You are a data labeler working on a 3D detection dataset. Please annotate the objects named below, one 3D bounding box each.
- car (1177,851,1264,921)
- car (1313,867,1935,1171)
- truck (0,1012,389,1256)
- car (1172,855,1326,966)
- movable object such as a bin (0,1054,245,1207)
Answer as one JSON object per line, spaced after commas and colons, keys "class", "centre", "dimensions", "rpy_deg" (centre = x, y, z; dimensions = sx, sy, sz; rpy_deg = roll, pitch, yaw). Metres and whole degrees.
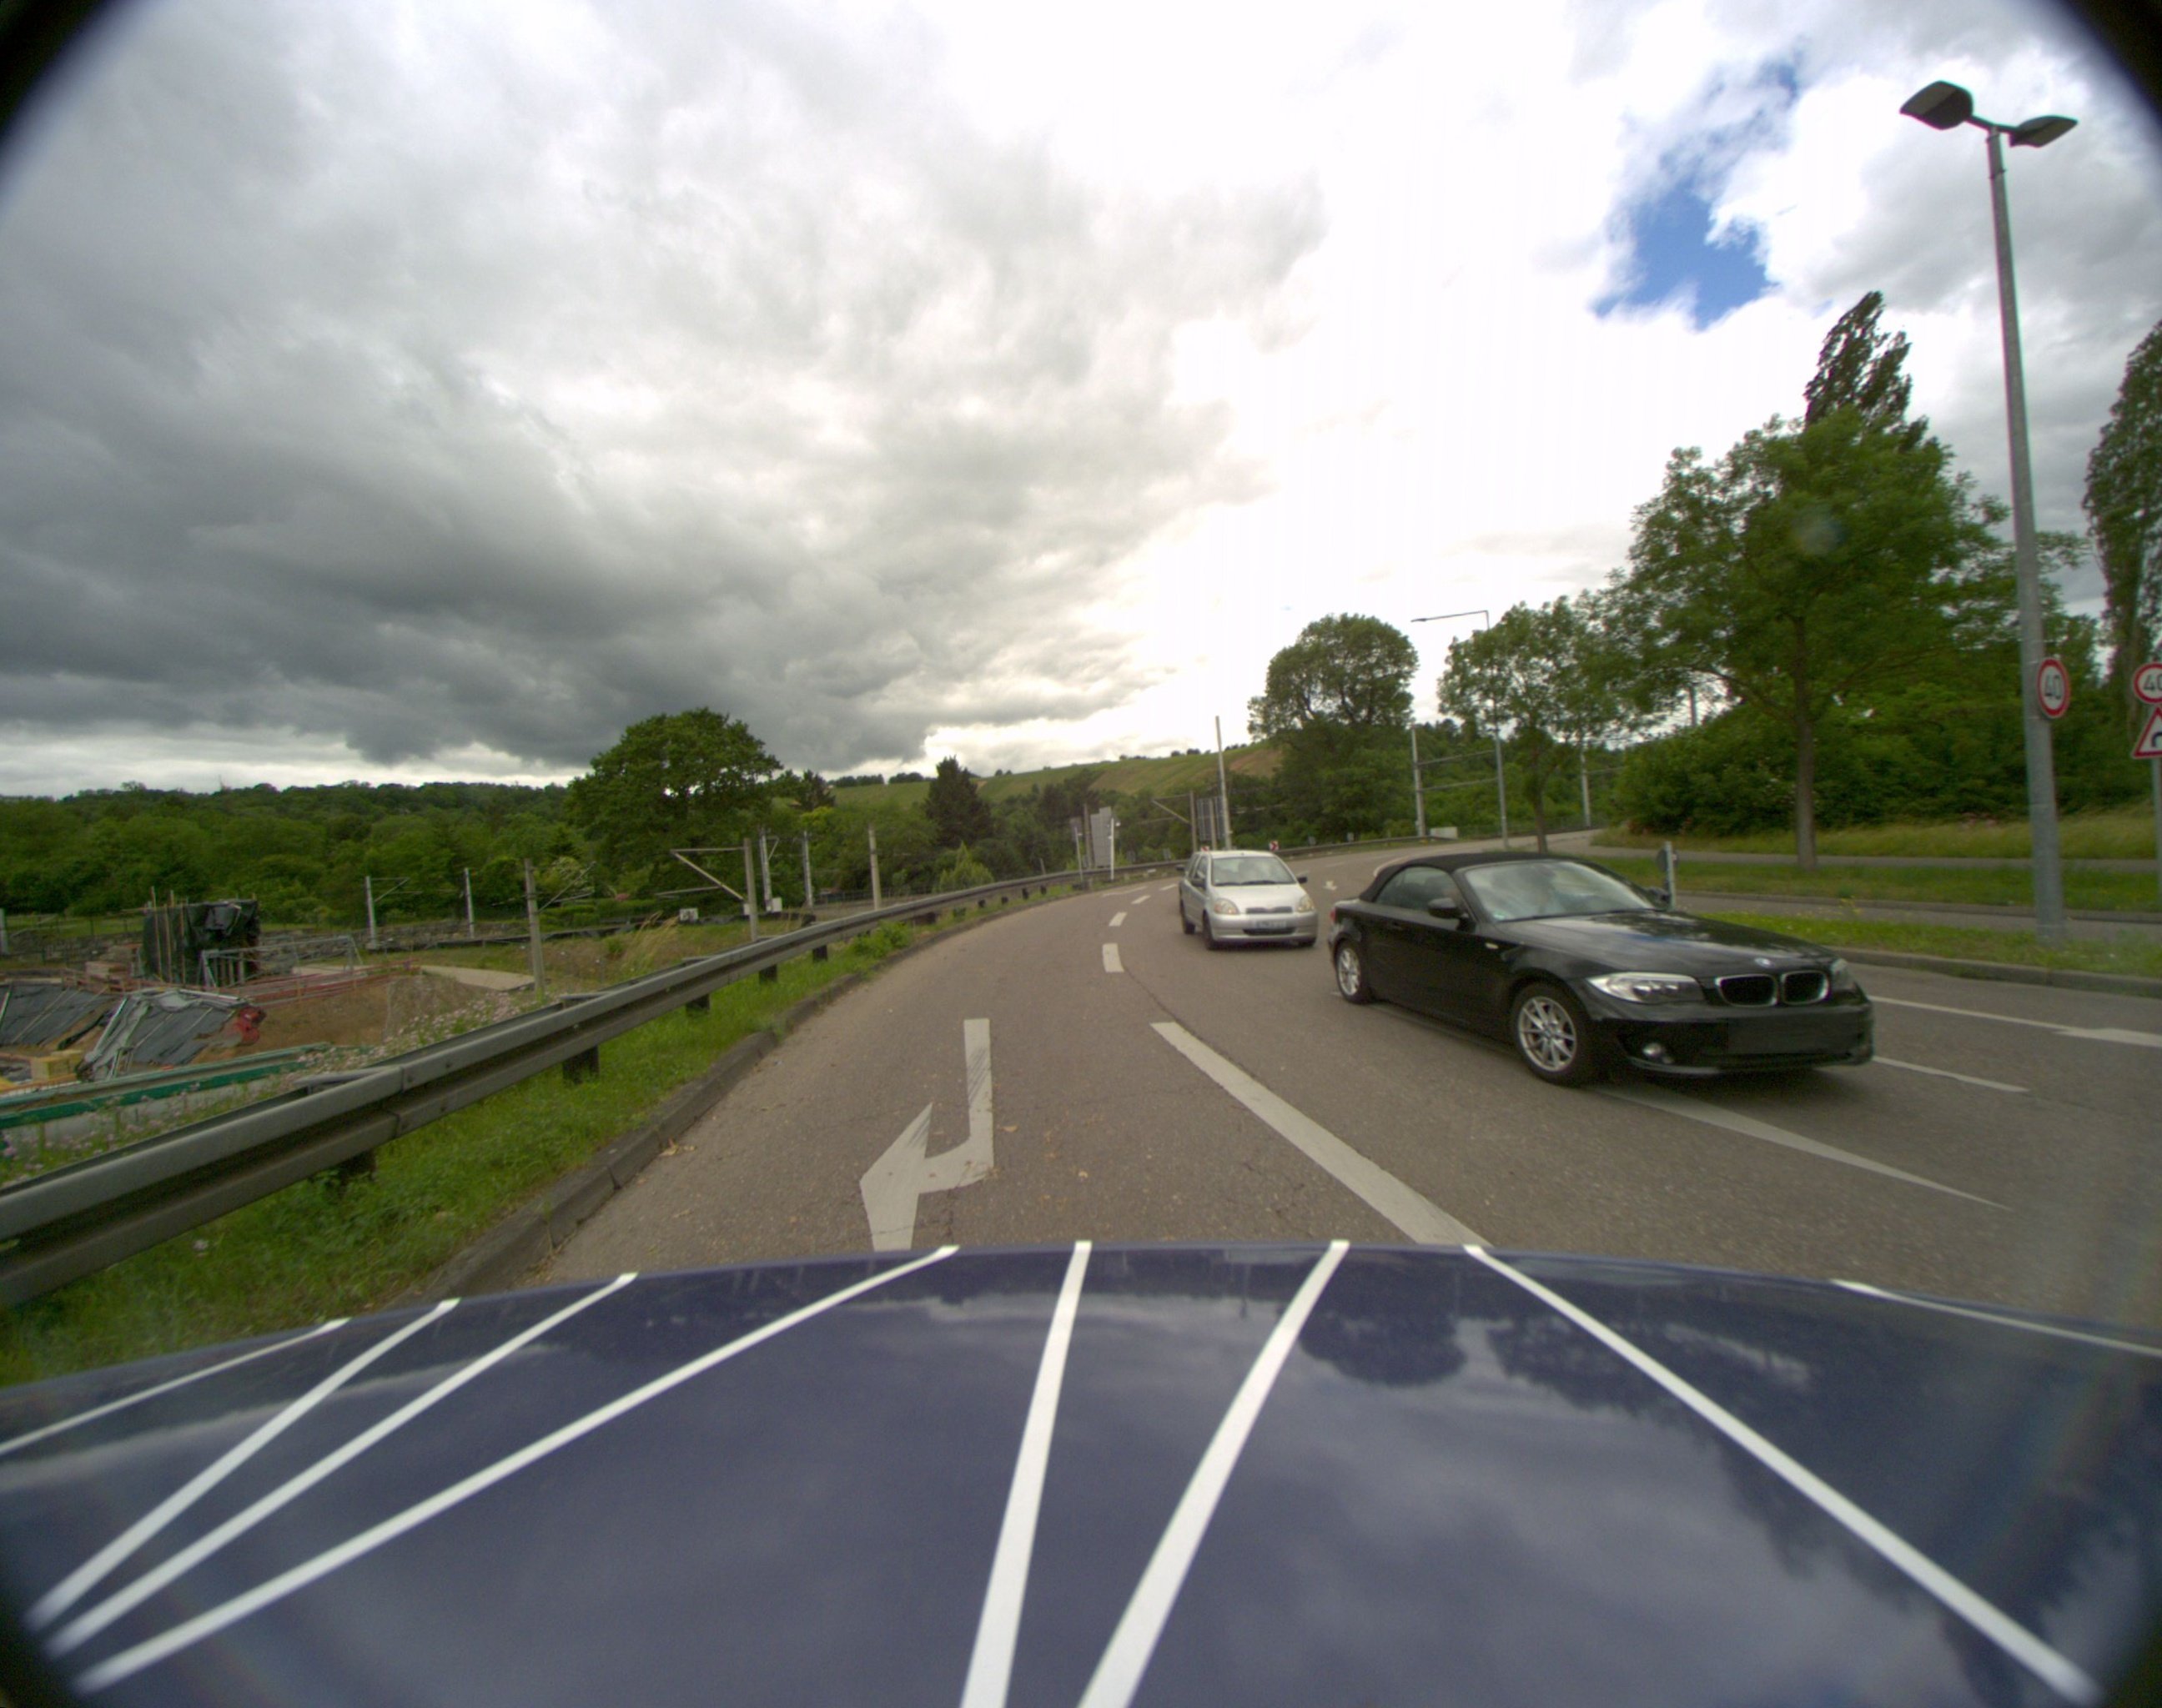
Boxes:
{"class": "car", "centre": [3.571, 0.719, 19.597], "dimensions": [1.876, 1.468, 4.967], "rpy_deg": [-2, 1, 10]}
{"class": "car", "centre": [3.354, 0.845, 5.814], "dimensions": [1.568, 1.360, 4.081], "rpy_deg": [-2, 0, -5]}
{"class": "truck", "centre": [-25.110, 7.111, 19.059], "dimensions": [2.842, 3.870, 11.632], "rpy_deg": [-4, -1, 14]}
{"class": "car", "centre": [2.632, 0.808, 12.690], "dimensions": [1.673, 1.461, 3.627], "rpy_deg": [-3, 1, -1]}
{"class": "movable object such as a bin", "centre": [-28.315, 7.900, 22.419], "dimensions": [3.040, 2.733, 4.296], "rpy_deg": [-4, -1, 31]}
